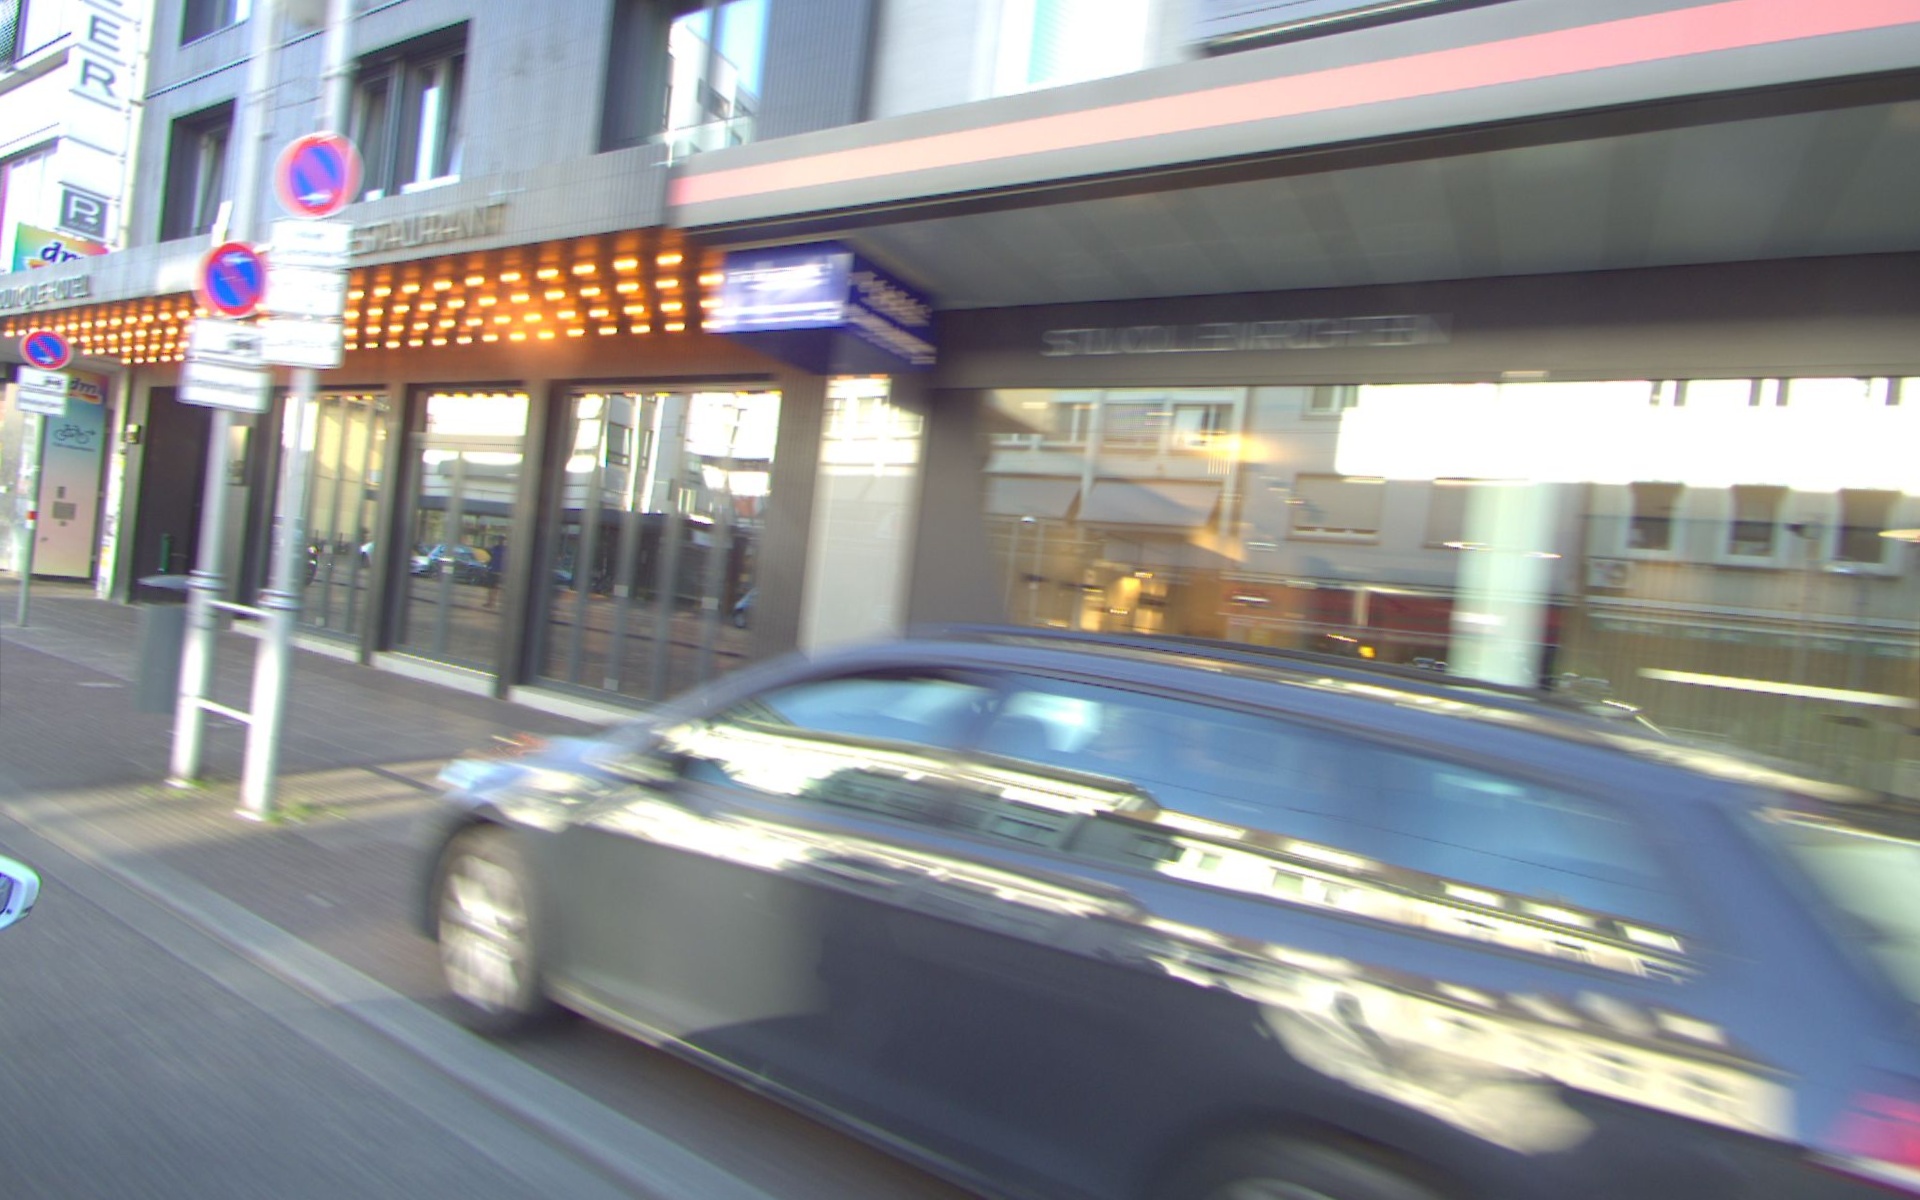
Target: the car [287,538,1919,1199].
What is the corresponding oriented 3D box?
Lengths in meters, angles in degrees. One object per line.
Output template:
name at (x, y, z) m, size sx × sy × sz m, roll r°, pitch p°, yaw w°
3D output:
car at (-0.025, 0.770, 3.134) m, size 4.343 × 1.504 × 1.722 m, roll 6°, pitch 1°, yaw 31°
